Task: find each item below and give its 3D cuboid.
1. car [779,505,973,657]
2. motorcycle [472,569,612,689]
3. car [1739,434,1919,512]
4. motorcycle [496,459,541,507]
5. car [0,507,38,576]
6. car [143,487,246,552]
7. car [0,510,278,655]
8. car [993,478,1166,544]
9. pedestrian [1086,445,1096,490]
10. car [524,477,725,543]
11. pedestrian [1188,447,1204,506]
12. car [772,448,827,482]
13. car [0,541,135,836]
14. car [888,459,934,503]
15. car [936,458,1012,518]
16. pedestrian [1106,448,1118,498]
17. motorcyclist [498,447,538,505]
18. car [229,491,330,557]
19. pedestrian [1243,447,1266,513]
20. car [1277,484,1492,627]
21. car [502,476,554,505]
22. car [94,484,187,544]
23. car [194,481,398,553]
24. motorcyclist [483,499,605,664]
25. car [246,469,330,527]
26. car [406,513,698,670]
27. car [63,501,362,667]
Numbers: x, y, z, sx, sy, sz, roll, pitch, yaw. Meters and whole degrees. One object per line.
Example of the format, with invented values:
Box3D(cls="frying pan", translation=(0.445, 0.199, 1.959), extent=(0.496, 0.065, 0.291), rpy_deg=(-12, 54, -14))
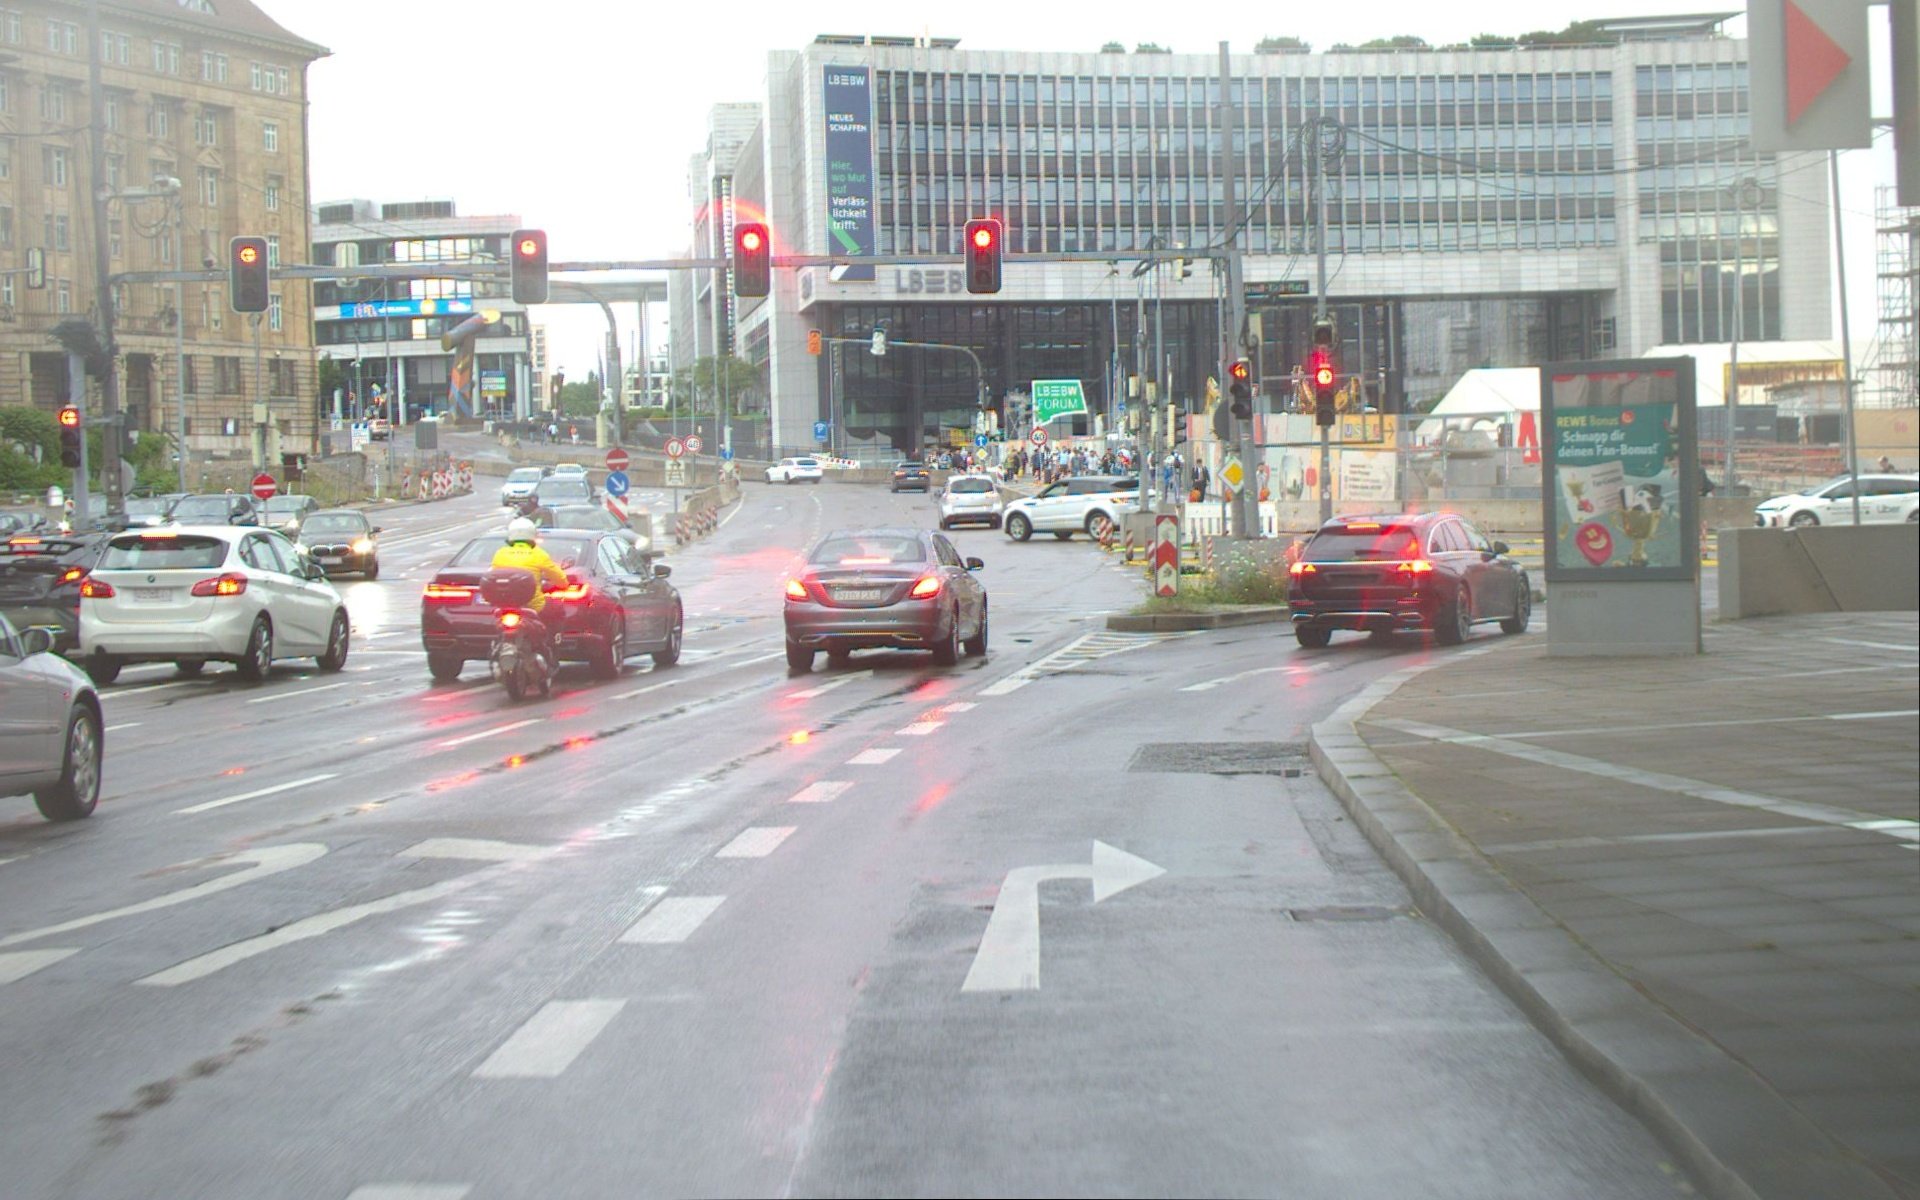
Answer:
Box3D(cls="car", translation=(-0.847, -0.253, 37.111), extent=(1.783, 1.397, 4.487), rpy_deg=(-1, 3, 2))
Box3D(cls="motorcycle", translation=(-3.773, 0.247, 31.233), extent=(0.942, 0.986, 2.294), rpy_deg=(0, 2, 1))
Box3D(cls="car", translation=(20.530, -2.947, 80.198), extent=(4.405, 1.760, 2.000), rpy_deg=(0, 1, 7))
Box3D(cls="motorcycle", translation=(-10.331, -2.730, 80.414), extent=(0.848, 1.104, 2.144), rpy_deg=(-1, 1, -12))
Box3D(cls="car", translation=(-22.160, -1.287, 77.457), extent=(1.697, 1.514, 3.875), rpy_deg=(-3, 2, 0))
Box3D(cls="car", translation=(-19.248, -2.030, 86.578), extent=(1.801, 1.568, 4.075), rpy_deg=(0, 1, -2))
Box3D(cls="car", translation=(-9.727, -0.241, 40.187), extent=(1.784, 1.594, 4.070), rpy_deg=(0, 1, 16))
Box3D(cls="car", translation=(3.004, -2.235, 86.938), extent=(3.996, 1.634, 1.995), rpy_deg=(1, 2, 41))
Box3D(cls="pedestrian", translation=(5.486, -5.541, 143.848), extent=(0.361, 1.891, 0.576), rpy_deg=(-1, 1, -5))
Box3D(cls="car", translation=(-7.048, -1.880, 72.029), extent=(4.109, 1.340, 1.995), rpy_deg=(1, 2, 44))
Box3D(cls="pedestrian", translation=(7.628, -3.992, 111.183), extent=(0.361, 1.891, 0.577), rpy_deg=(-1, 1, -13))
Box3D(cls="car", translation=(-9.060, -7.587, 193.733), extent=(1.993, 1.809, 4.001), rpy_deg=(-1, 1, -20))
Box3D(cls="car", translation=(-5.476, 0.438, 16.420), extent=(1.733, 1.399, 4.383), rpy_deg=(0, 1, 4))
Box3D(cls="car", translation=(-2.329, -5.583, 161.833), extent=(1.993, 2.007, 4.001), rpy_deg=(-1, 1, -3))
Box3D(cls="car", translation=(0.396, -3.365, 103.149), extent=(1.727, 1.634, 3.436), rpy_deg=(-1, 5, -9))
Box3D(cls="pedestrian", translation=(5.765, -4.841, 130.667), extent=(0.361, 1.891, 0.576), rpy_deg=(-1, 1, -5))
Box3D(cls="motorcyclist", translation=(-10.339, -2.894, 80.392), extent=(0.846, 1.353, 0.948), rpy_deg=(-1, 1, -12))
Box3D(cls="car", translation=(-16.904, -1.903, 85.536), extent=(1.821, 1.481, 4.001), rpy_deg=(-2, 3, -3))
Box3D(cls="pedestrian", translation=(8.437, -3.437, 98.414), extent=(0.361, 1.891, 0.576), rpy_deg=(-1, 1, -34))
Box3D(cls="car", translation=(4.867, -0.522, 39.007), extent=(1.892, 1.538, 3.991), rpy_deg=(0, 1, 15))
Box3D(cls="car", translation=(-19.409, -4.915, 154.575), extent=(1.767, 1.256, 4.194), rpy_deg=(0, 1, 0))
Box3D(cls="car", translation=(-22.153, -2.332, 93.058), extent=(1.697, 1.568, 4.001), rpy_deg=(0, 1, -2))
Box3D(cls="car", translation=(-14.218, -1.769, 73.522), extent=(4.107, 1.501, 1.996), rpy_deg=(0, 2, 36))
Box3D(cls="motorcyclist", translation=(-3.767, -0.178, 31.235), extent=(0.941, 1.470, 1.100), rpy_deg=(0, 1, 1))
Box3D(cls="car", translation=(-18.757, -2.848, 96.128), extent=(1.697, 1.568, 4.001), rpy_deg=(0, 1, -2))
Box3D(cls="car", translation=(-4.131, -0.138, 35.647), extent=(1.887, 1.509, 5.001), rpy_deg=(0, 1, 7))
Box3D(cls="car", translation=(-7.638, -0.196, 35.513), extent=(1.733, 1.610, 3.999), rpy_deg=(0, 1, 8))
